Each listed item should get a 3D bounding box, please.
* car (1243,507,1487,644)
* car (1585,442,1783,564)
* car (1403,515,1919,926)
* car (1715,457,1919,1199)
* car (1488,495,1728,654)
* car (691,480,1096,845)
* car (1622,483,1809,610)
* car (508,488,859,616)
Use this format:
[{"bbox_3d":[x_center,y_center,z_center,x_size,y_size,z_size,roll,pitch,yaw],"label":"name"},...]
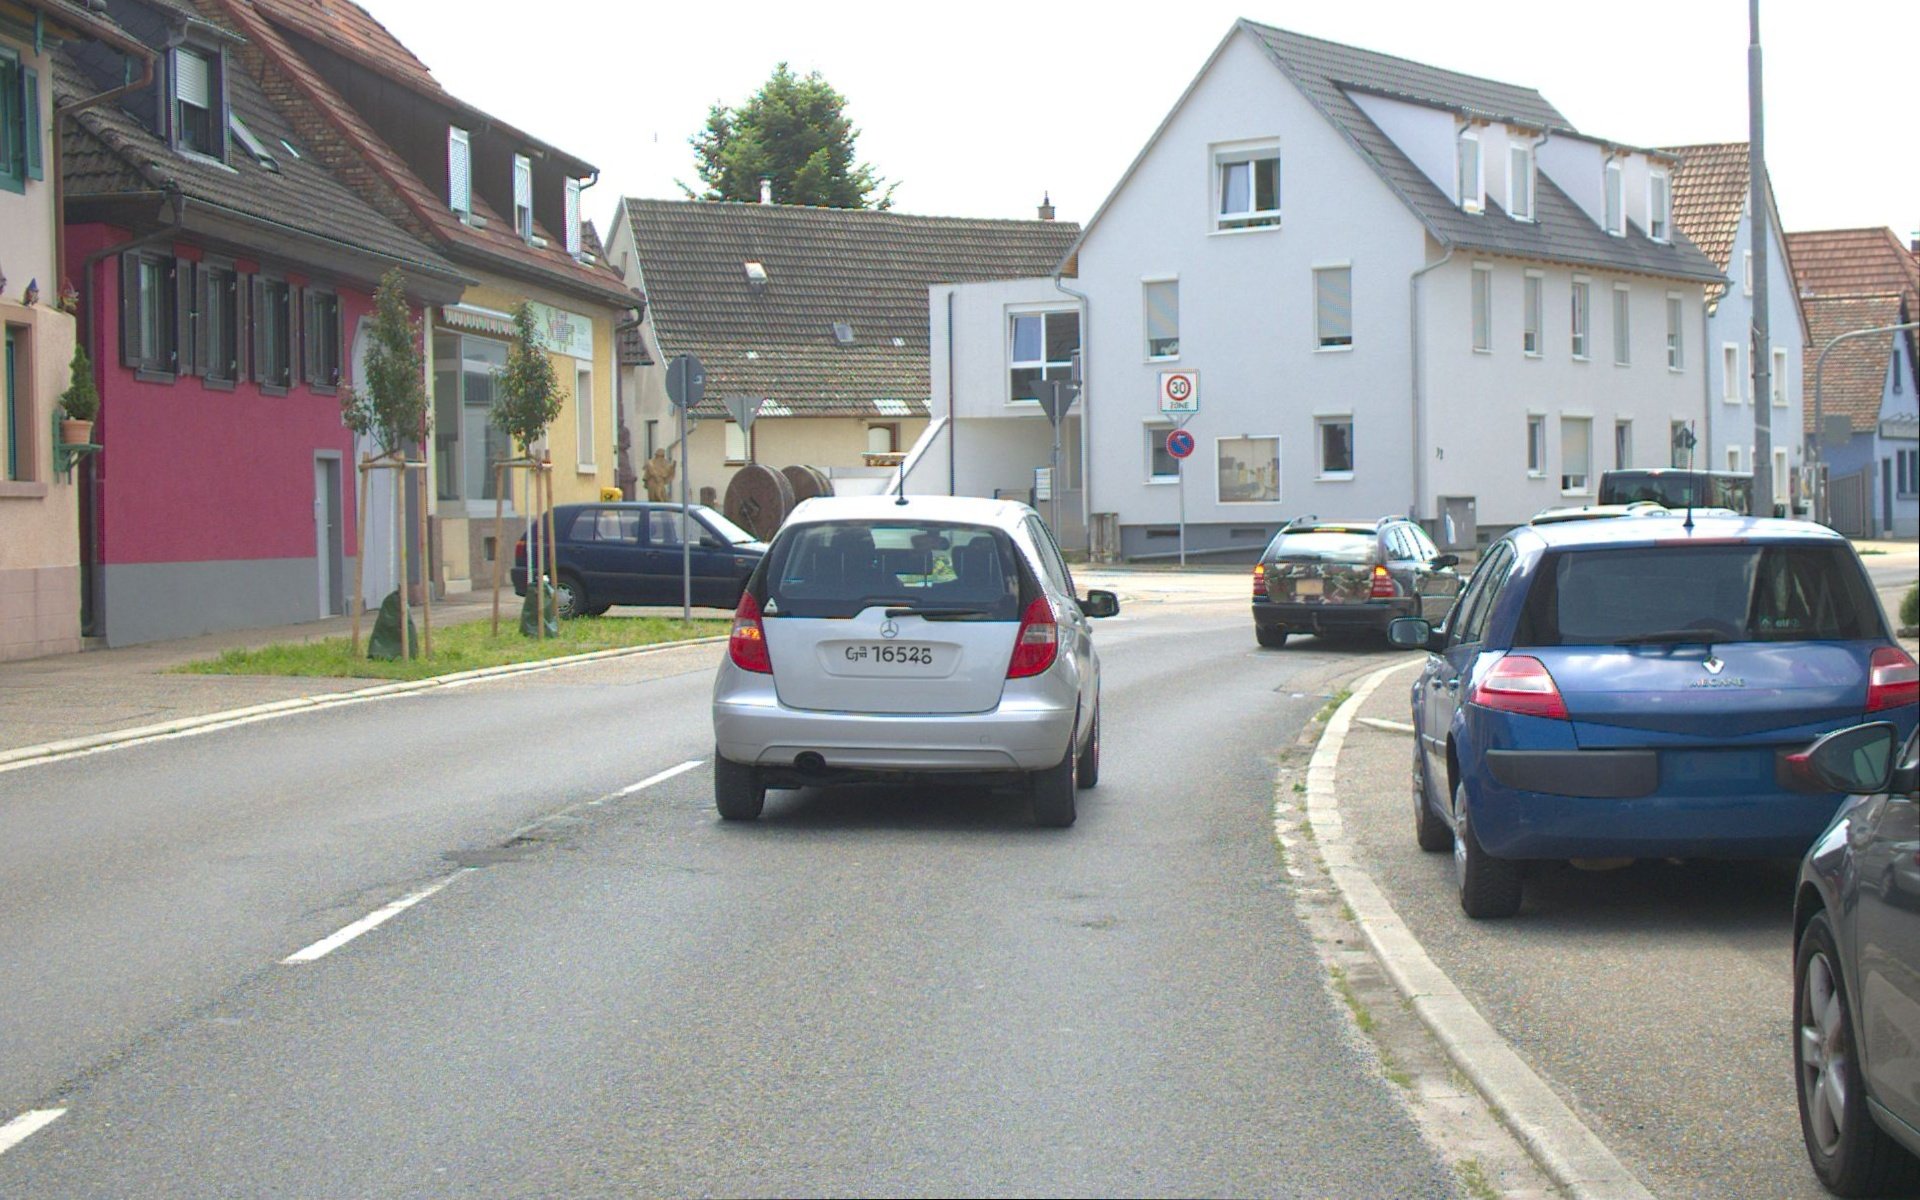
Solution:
[{"bbox_3d":[4.524,-0.275,37.915,1.752,1.411,3.996,1,1,21],"label":"car"},{"bbox_3d":[11.365,-1.488,53.809,1.996,1.809,3.994,1,1,28],"label":"car"},{"bbox_3d":[2.707,0.397,13.697,1.723,1.381,3.999,-1,0,6],"label":"car"},{"bbox_3d":[2.605,0.533,5.984,1.768,1.524,4.001,-3,3,2],"label":"car"},{"bbox_3d":[7.032,-0.308,36.972,1.886,1.525,4.332,-3,1,19],"label":"car"},{"bbox_3d":[-0.239,0.225,17.822,1.811,1.637,3.729,1,2,3],"label":"car"},{"bbox_3d":[9.654,-0.668,43.738,1.886,1.525,3.996,1,1,19],"label":"car"},{"bbox_3d":[-3.304,-0.595,41.480,3.968,1.459,1.721,1,2,6],"label":"car"}]
